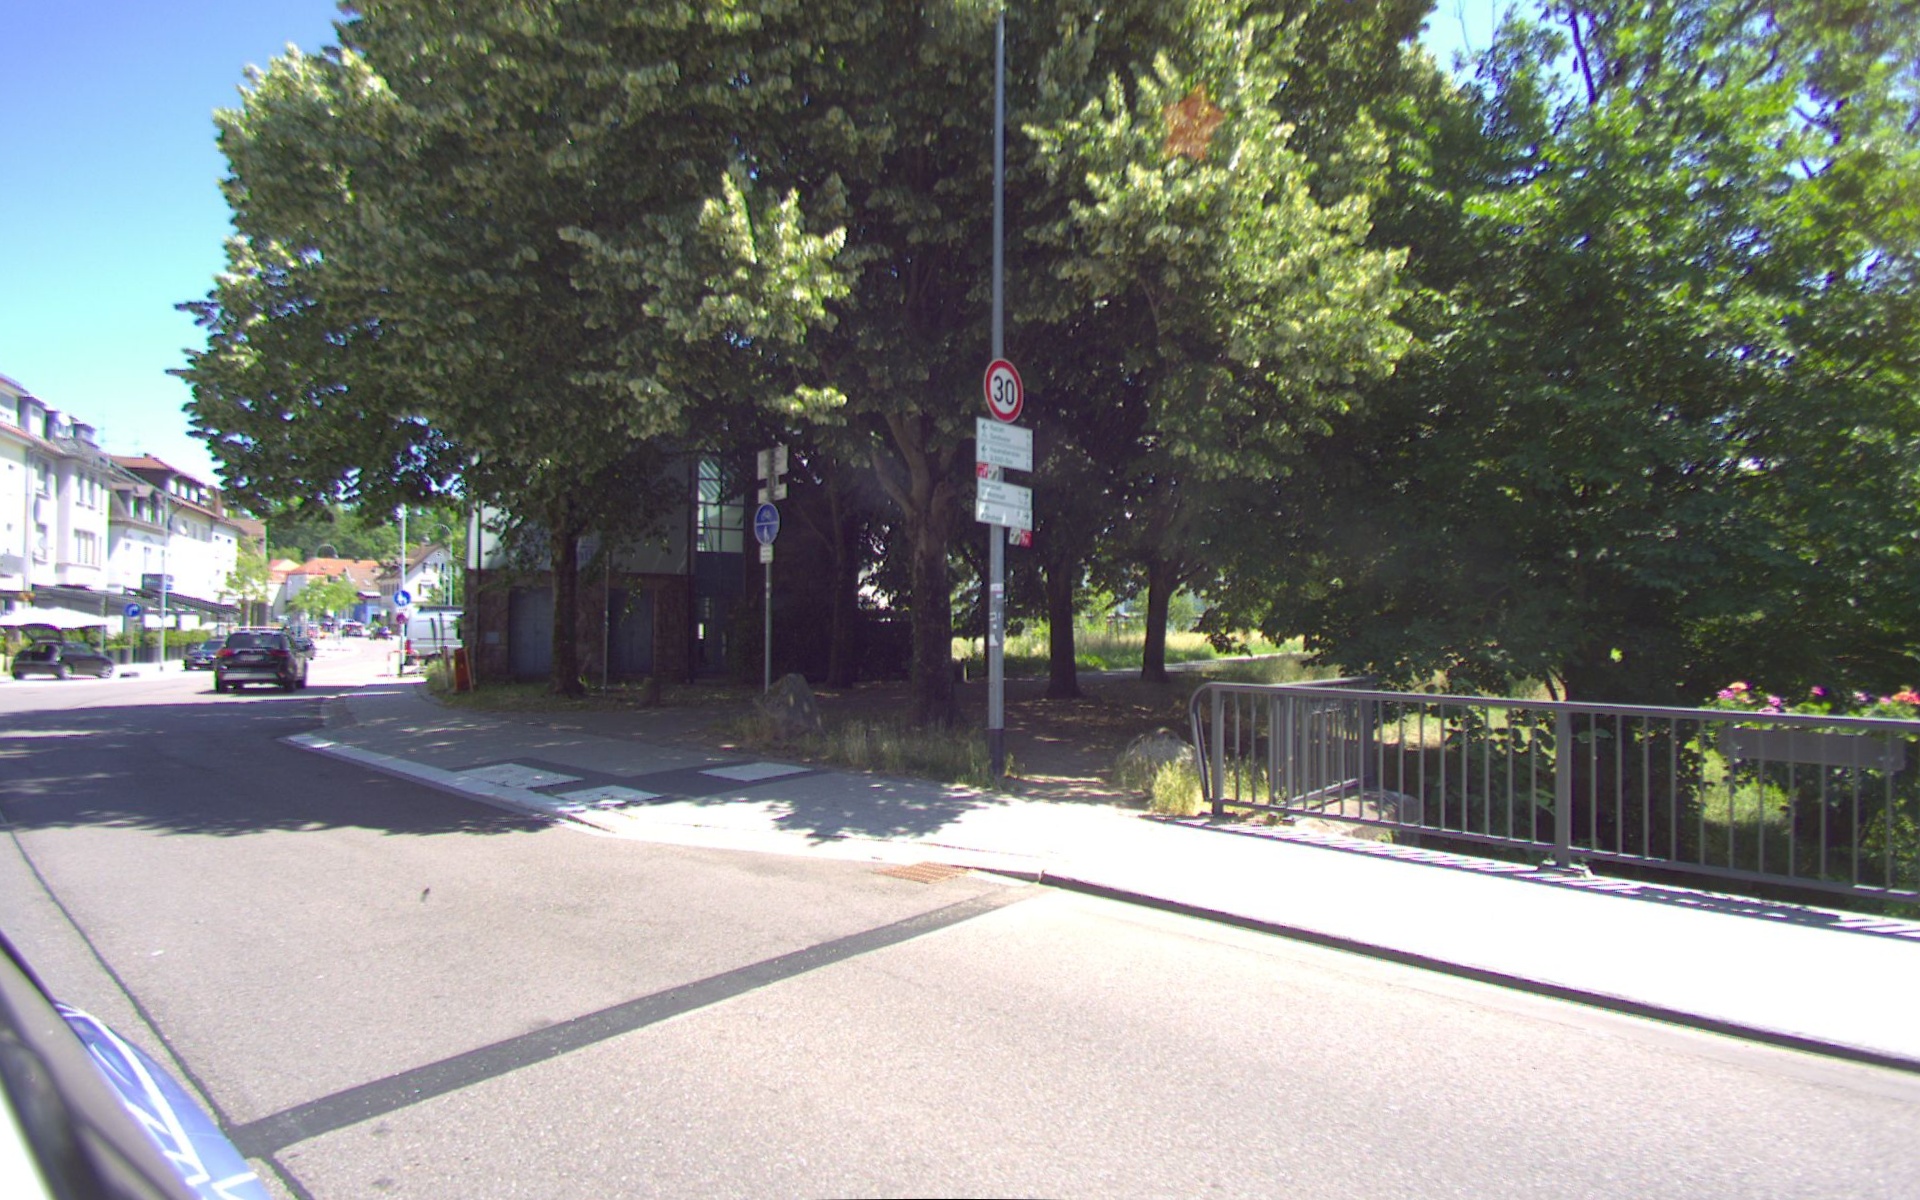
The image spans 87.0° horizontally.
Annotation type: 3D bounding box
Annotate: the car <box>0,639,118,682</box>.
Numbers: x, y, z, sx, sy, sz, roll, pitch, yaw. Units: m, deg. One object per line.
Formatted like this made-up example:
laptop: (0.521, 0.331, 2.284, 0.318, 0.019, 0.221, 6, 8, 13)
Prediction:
car: (-33.743, 2.223, 37.871, 1.847, 1.503, 3.871, 2, -3, -13)

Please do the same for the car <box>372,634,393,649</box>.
car: (-64.133, 4.633, 112.319, 1.867, 1.565, 4.812, 0, -2, -31)

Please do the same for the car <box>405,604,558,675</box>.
car: (-20.168, 1.630, 42.948, 5.686, 2.753, 2.299, -1, -1, -23)

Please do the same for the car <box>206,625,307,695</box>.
car: (-19.599, 1.661, 28.365, 1.716, 1.786, 4.351, 2, -3, -28)

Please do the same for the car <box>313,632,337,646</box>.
car: (-70.724, 4.339, 112.749, 1.655, 1.526, 3.397, 1, -2, -21)

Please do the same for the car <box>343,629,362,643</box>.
car: (-76.974, 4.522, 128.209, 1.786, 1.714, 4.086, 1, -2, -35)

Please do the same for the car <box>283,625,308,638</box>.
car: (-80.184, 3.806, 122.070, 1.709, 1.484, 4.328, 4, -4, -43)

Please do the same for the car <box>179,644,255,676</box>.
car: (-35.792, 2.863, 48.857, 1.700, 1.416, 4.623, 2, -3, -20)
